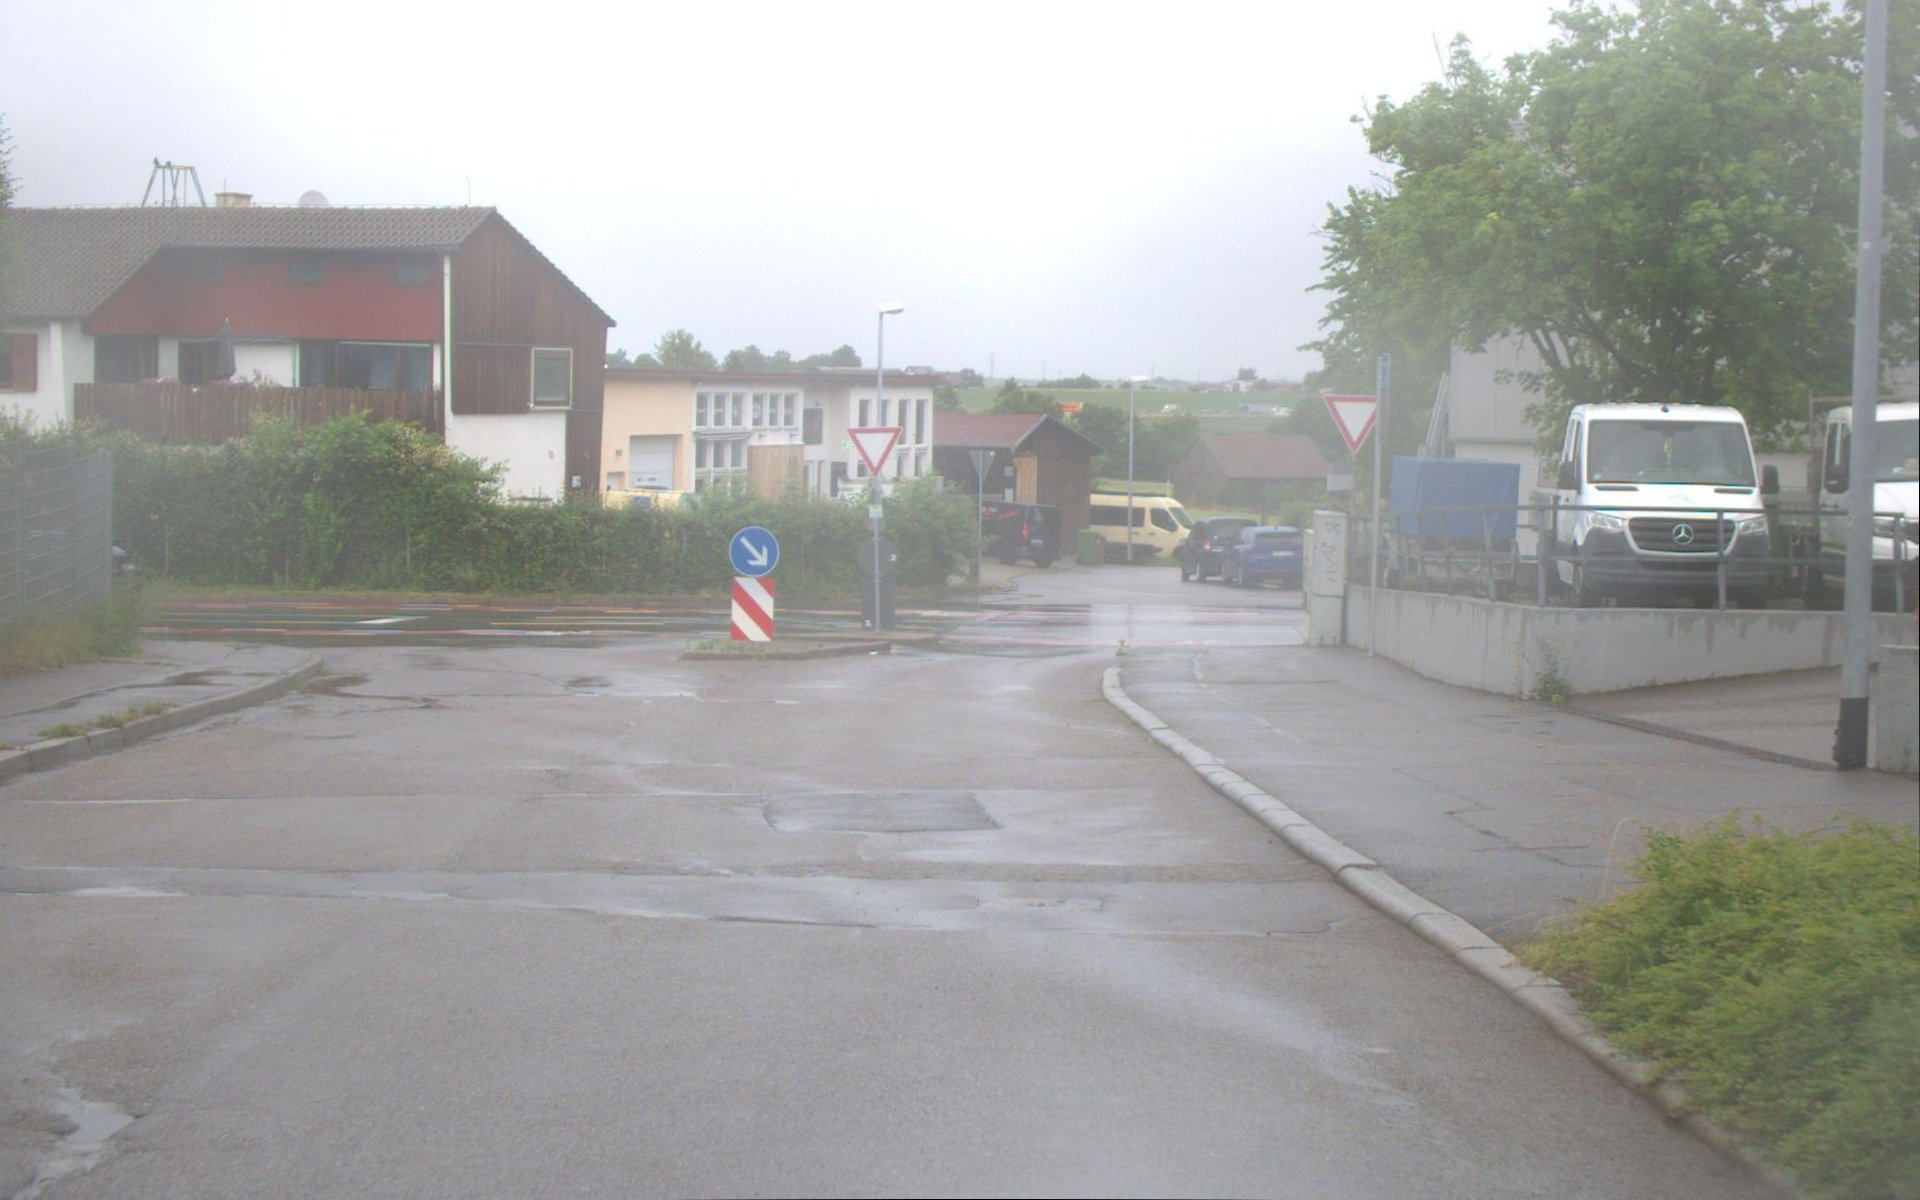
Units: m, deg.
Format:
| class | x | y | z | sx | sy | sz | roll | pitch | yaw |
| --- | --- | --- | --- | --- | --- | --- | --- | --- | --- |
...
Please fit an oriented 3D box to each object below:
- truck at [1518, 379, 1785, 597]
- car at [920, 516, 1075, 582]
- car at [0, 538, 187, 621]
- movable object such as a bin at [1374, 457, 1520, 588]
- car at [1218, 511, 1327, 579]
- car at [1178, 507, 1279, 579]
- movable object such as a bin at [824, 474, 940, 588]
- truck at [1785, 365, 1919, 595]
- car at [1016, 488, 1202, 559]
| class | x | y | z | sx | sy | sz | roll | pitch | yaw |
| --- | --- | --- | --- | --- | --- | --- | --- | --- | --- |
| truck | 7.506 | -1.179 | 37.890 | 2.106 | 2.206 | 5.652 | 1 | 1 | 3 |
| car | 1.095 | -1.521 | 102.194 | 4.407 | 1.898 | 1.995 | 1 | 1 | 44 |
| car | -17.011 | -0.415 | 65.727 | 3.990 | 1.529 | 1.760 | 1 | 1 | 15 |
| movable object such as a bin | 5.709 | -0.903 | 40.426 | 1.306 | 1.495 | 1.859 | 1 | 1 | -5 |
| car | 7.598 | -1.332 | 83.981 | 1.951 | 1.604 | 4.447 | 1 | 1 | -4 |
| car | 7.026 | -1.495 | 90.331 | 2.074 | 1.828 | 4.471 | 1 | 1 | -3 |
| movable object such as a bin | -1.778 | -1.578 | 78.883 | 1.734 | 2.548 | 3.337 | 1 | 1 | 16 |
| truck | 10.379 | -1.238 | 37.163 | 2.243 | 2.334 | 4.836 | 1 | 1 | 6 |
| car | 5.192 | -2.654 | 119.800 | 6.016 | 2.407 | 2.460 | 1 | 1 | 22 |
